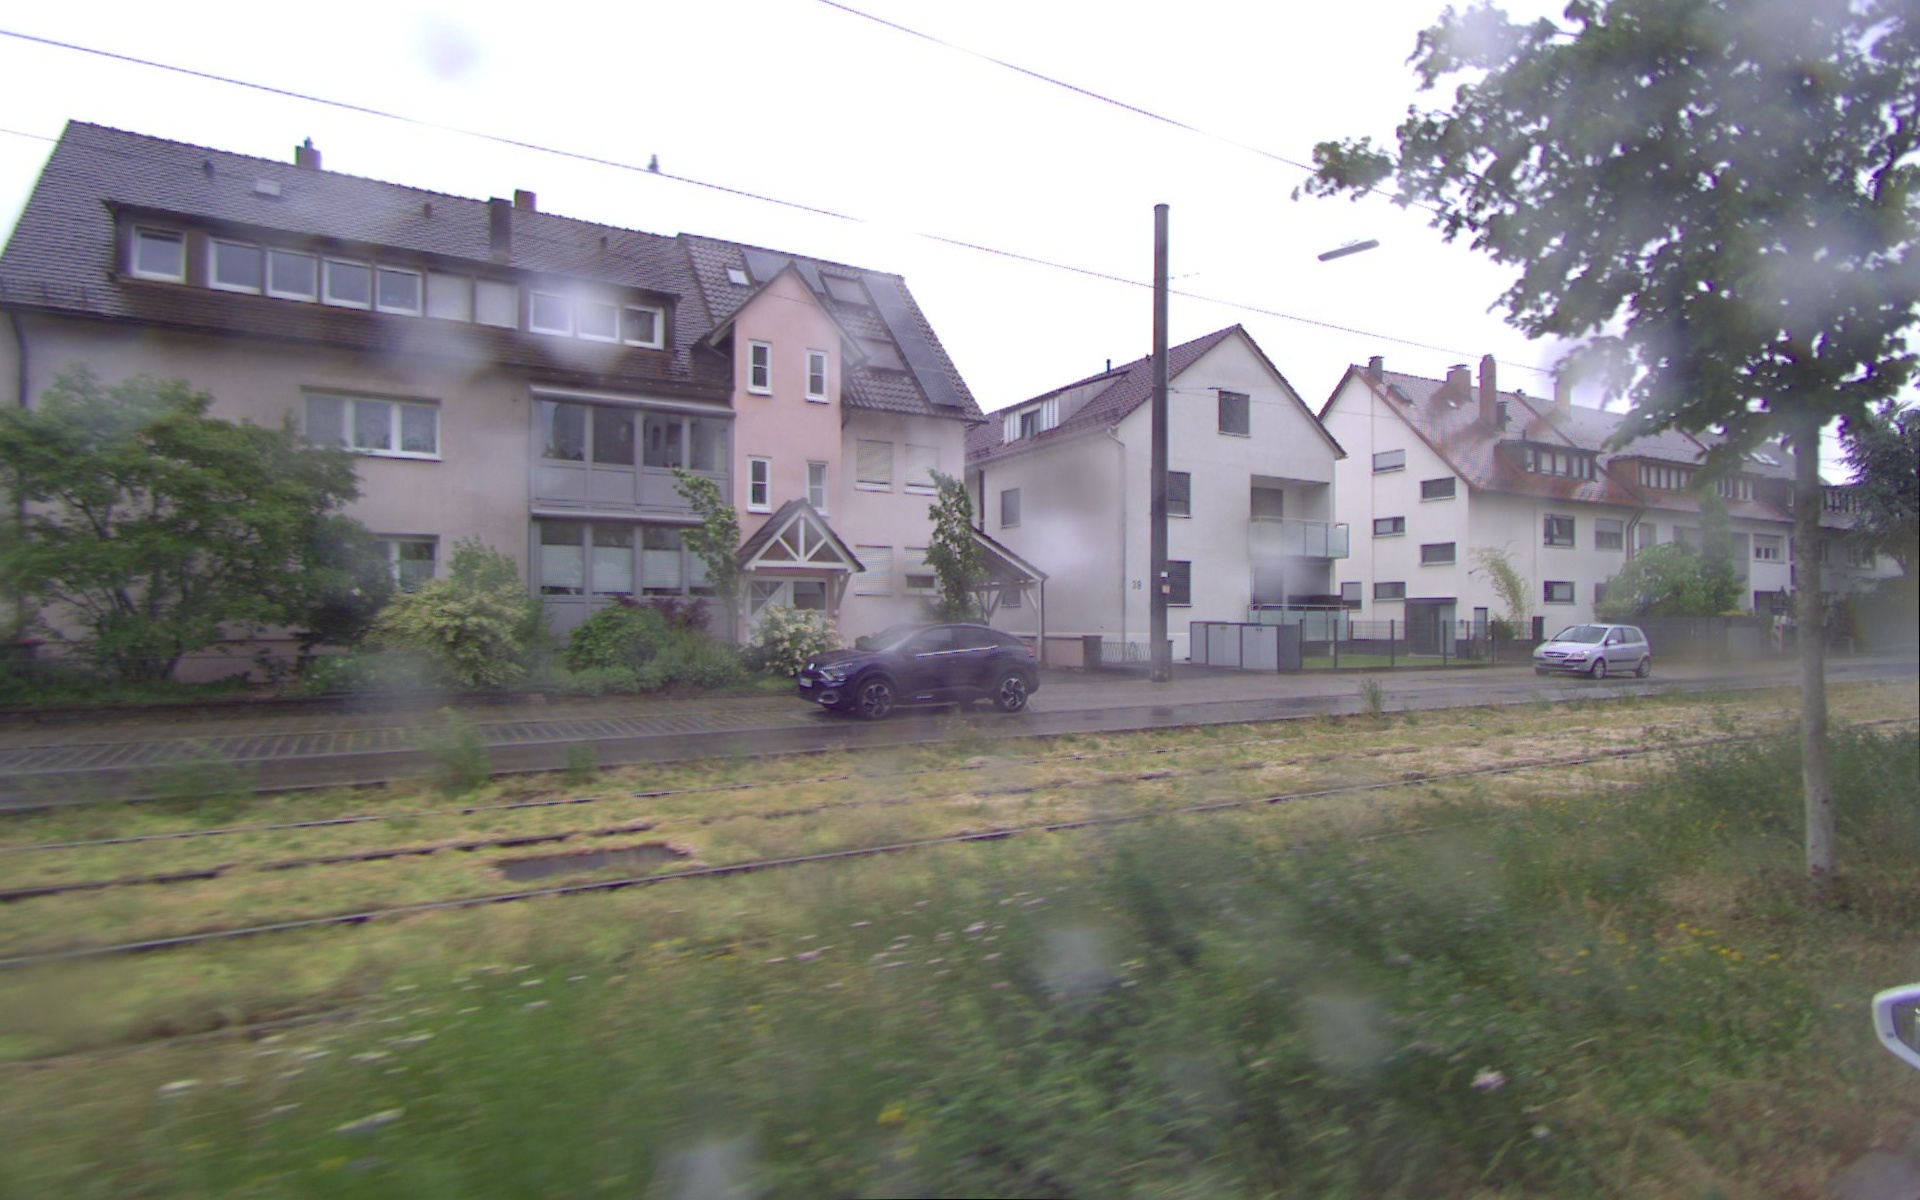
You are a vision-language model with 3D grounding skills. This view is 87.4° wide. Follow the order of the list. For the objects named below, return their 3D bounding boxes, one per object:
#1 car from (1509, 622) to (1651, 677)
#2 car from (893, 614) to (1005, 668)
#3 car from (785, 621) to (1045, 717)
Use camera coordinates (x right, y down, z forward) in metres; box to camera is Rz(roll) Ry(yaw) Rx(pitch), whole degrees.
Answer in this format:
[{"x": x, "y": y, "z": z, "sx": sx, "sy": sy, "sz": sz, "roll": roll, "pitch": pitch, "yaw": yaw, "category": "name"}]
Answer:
[{"x": 17.543, "y": 1.373, "z": 28.410, "sx": 3.617, "sy": 1.432, "sz": 1.983, "roll": 2, "pitch": -1, "yaw": -31, "category": "car"}, {"x": -0.411, "y": 1.238, "z": 31.172, "sx": 1.820, "sy": 1.521, "sz": 3.969, "roll": 2, "pitch": -1, "yaw": -29, "category": "car"}, {"x": -0.735, "y": 1.138, "z": 17.320, "sx": 4.127, "sy": 1.445, "sz": 1.827, "roll": 2, "pitch": -1, "yaw": -31, "category": "car"}]
